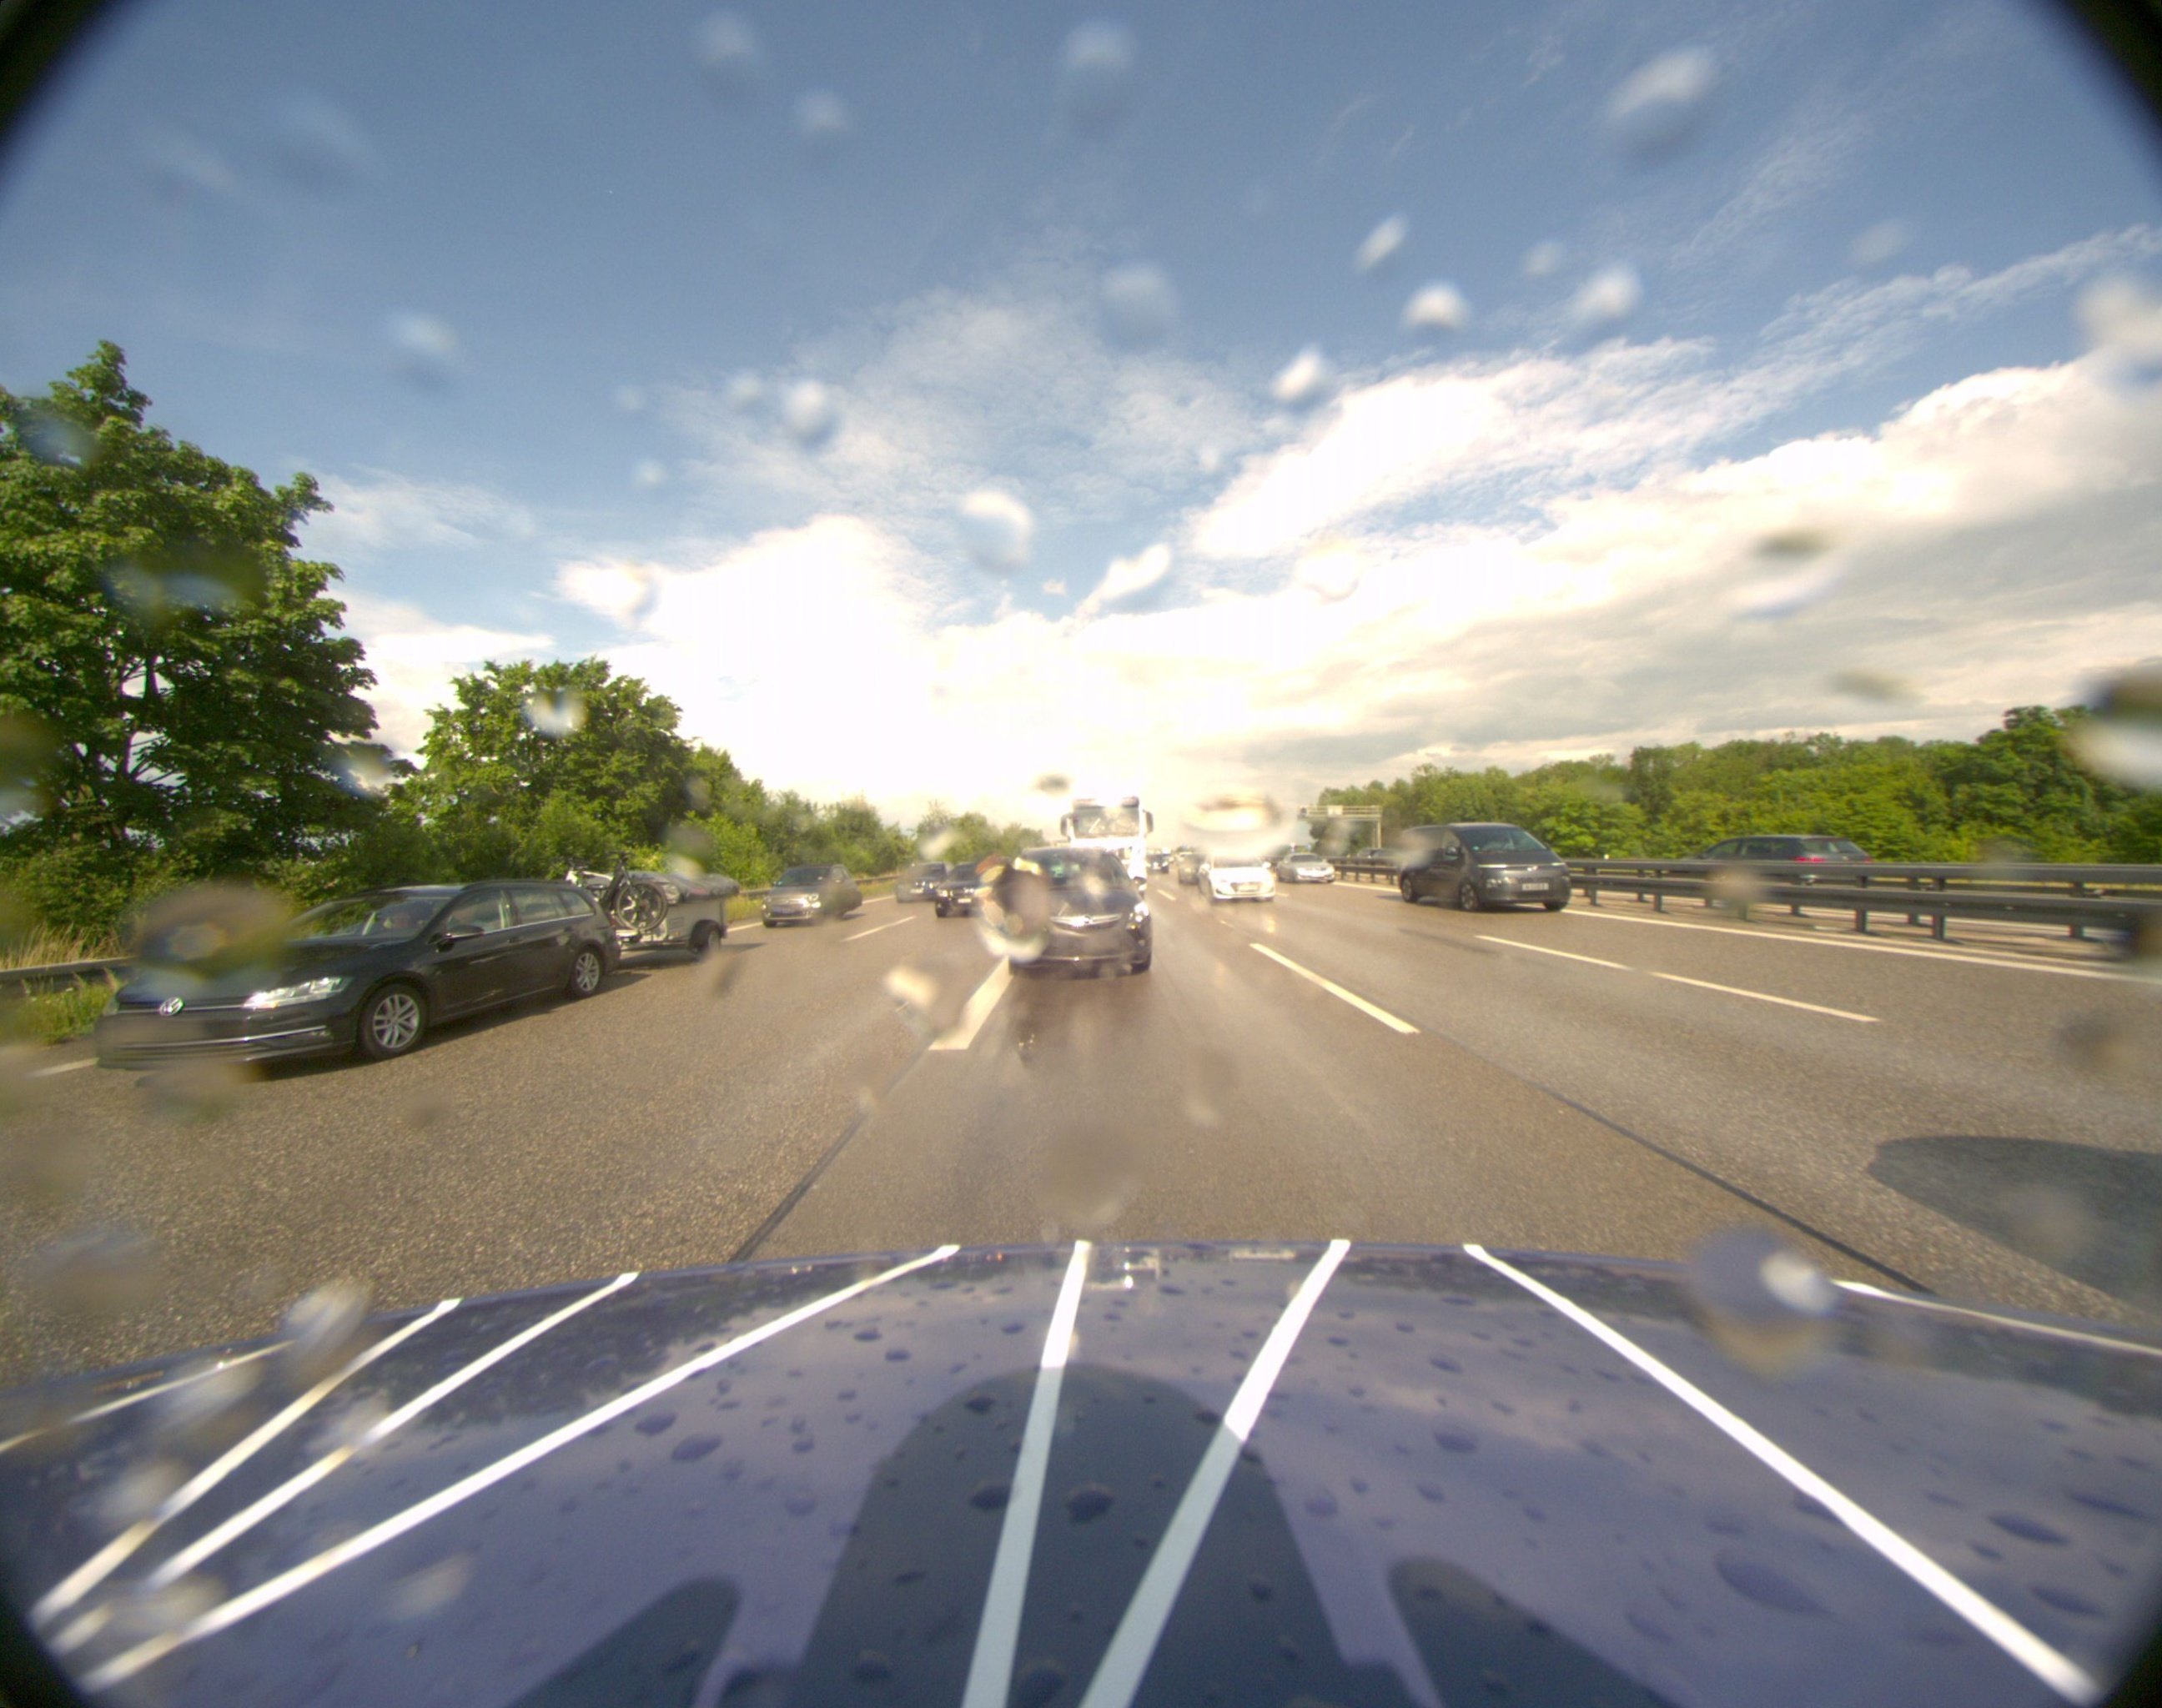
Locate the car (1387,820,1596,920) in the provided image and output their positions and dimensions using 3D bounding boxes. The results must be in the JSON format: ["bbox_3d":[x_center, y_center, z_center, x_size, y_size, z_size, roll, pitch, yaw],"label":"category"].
[{"bbox_3d":[9.094,0.301,17.494,1.998,1.906,5.236,-2,0,1],"label":"car"}]

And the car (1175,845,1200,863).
[{"bbox_3d":[10.778,0.005,77.287,1.900,1.740,3.999,-2,1,0],"label":"car"}]

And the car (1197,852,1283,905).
[{"bbox_3d":[4.610,0.649,22.651,1.809,1.389,4.240,-1,0,2],"label":"car"}]

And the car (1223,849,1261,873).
[{"bbox_3d":[10.152,0.425,48.276,1.618,1.412,4.000,-2,0,1],"label":"car"}]

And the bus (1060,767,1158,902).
[{"bbox_3d":[0.987,-0.628,28.565,2.904,4.104,9.845,-2,0,1],"label":"bus"}]

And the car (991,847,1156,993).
[{"bbox_3d":[-0.232,0.753,11.166,1.859,1.622,4.734,-2,0,-4],"label":"car"}]

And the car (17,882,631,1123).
[{"bbox_3d":[-6.556,1.112,7.499,1.748,1.422,4.403,-2,0,-3],"label":"car"}]

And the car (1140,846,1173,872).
[{"bbox_3d":[5.357,0.318,54.243,1.889,1.707,3.999,-2,1,0],"label":"car"}]

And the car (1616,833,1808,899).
[{"bbox_3d":[16.596,0.276,20.292,1.804,1.535,4.000,-2,0,1],"label":"car"}]

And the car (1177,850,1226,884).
[{"bbox_3d":[5.447,0.553,34.801,1.597,1.390,4.000,-2,0,1],"label":"car"}]

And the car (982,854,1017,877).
[{"bbox_3d":[-5.799,0.792,54.295,1.998,1.481,4.249,-2,0,0],"label":"car"}]

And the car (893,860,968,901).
[{"bbox_3d":[-5.625,0.949,28.910,1.771,1.343,4.580,-2,0,2],"label":"car"}]

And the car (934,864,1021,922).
[{"bbox_3d":[-2.733,0.998,20.899,1.722,1.346,3.884,-2,0,1],"label":"car"}]

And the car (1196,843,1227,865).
[{"bbox_3d":[10.934,-0.052,64.097,1.900,1.740,3.999,-2,1,0],"label":"car"}]

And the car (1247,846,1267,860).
[{"bbox_3d":[23.327,-0.141,100.628,1.738,1.641,3.810,-2,0,0],"label":"car"}]

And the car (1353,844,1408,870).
[{"bbox_3d":[21.172,0.197,53.996,1.998,1.675,4.826,-2,0,0],"label":"car"}]

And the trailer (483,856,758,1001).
[{"bbox_3d":[-6.728,0.962,11.710,1.810,1.736,3.966,-3,0,-2],"label":"trailer"}]

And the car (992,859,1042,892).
[{"bbox_3d":[-2.881,0.959,35.157,1.743,1.357,4.001,-2,0,3],"label":"car"}]

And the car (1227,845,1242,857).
[{"bbox_3d":[27.027,-0.489,134.145,1.998,2.002,4.364,-2,0,4],"label":"car"}]

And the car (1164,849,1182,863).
[{"bbox_3d":[11.959,0.228,99.127,1.900,1.740,3.999,-2,1,0],"label":"car"}]

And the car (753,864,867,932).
[{"bbox_3d":[-6.834,1.045,19.528,1.616,1.480,3.481,-2,1,0],"label":"car"}]

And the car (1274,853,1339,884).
[{"bbox_3d":[9.580,0.584,32.498,1.856,1.182,3.583,-2,0,3],"label":"car"}]
